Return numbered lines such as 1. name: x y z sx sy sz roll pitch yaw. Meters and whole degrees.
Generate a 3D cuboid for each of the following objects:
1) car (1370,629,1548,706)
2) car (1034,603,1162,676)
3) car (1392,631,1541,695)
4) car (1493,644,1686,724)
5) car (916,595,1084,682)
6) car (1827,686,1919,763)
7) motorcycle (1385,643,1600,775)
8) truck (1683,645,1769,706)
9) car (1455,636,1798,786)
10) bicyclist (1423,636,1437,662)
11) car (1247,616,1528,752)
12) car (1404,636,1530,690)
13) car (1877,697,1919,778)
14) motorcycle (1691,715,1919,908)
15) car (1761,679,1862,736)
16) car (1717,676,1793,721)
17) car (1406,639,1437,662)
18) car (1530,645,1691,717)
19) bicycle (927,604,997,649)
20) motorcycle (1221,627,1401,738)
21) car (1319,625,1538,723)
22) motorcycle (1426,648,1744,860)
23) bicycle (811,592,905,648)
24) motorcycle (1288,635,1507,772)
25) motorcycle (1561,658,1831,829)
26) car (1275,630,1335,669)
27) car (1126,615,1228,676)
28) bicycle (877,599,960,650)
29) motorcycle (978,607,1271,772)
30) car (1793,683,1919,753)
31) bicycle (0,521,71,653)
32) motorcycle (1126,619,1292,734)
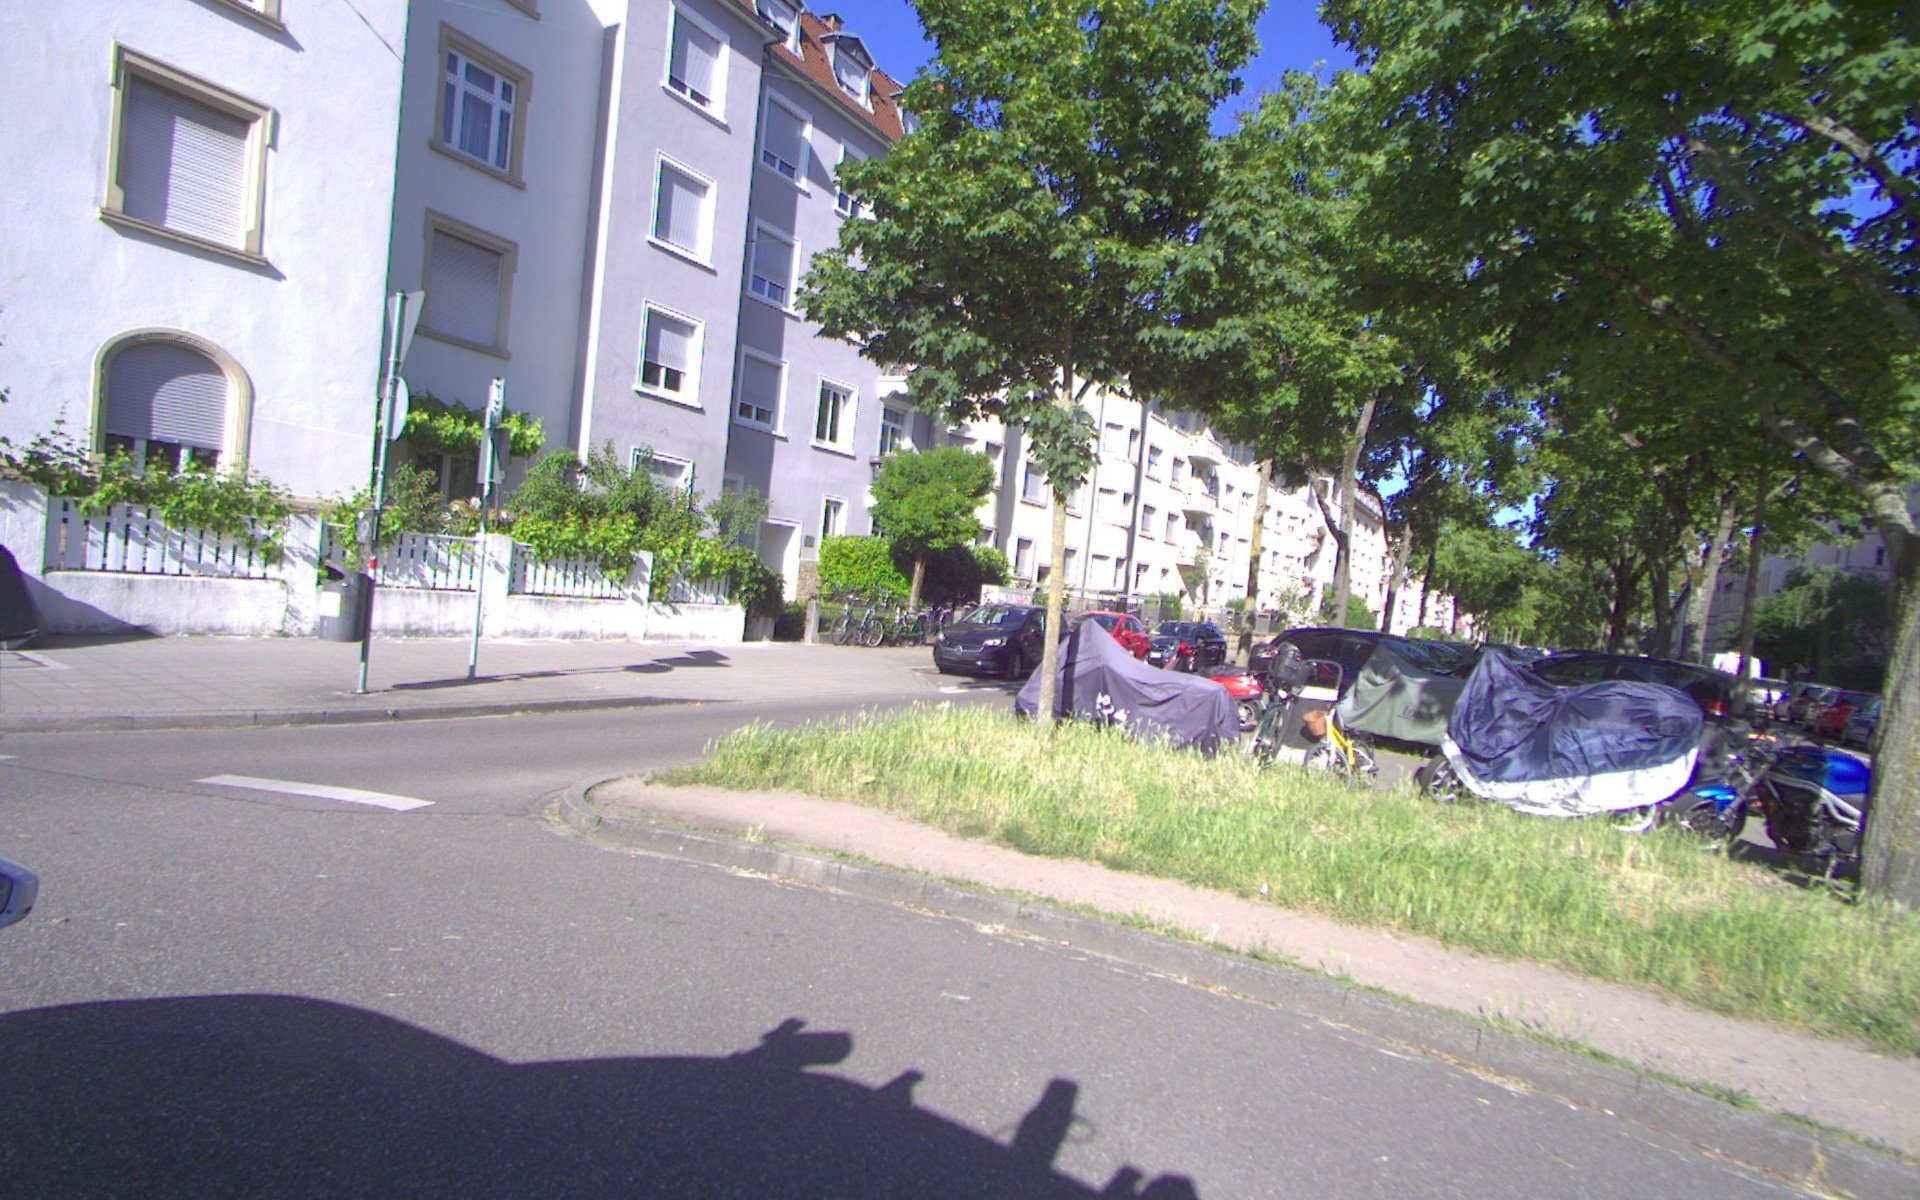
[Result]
1. car: 13.867 1.845 28.159 1.867 1.611 3.964 5 1 -33
2. car: 3.487 0.976 24.828 1.723 1.464 3.846 7 1 29
3. car: 16.950 2.082 33.846 1.867 1.611 3.964 5 1 -33
4. car: 16.942 2.227 27.244 1.765 1.569 3.960 5 2 -36
5. car: 0.919 0.765 20.333 1.723 1.463 3.947 5 0 29
6. car: 23.365 3.102 25.025 1.754 1.505 3.991 8 2 28
7. motorcycle: 6.700 1.321 12.723 2.205 1.284 1.049 7 2 31
8. truck: 40.175 3.881 52.941 2.370 2.711 5.894 8 2 28
9. car: 10.251 1.634 15.702 1.985 1.618 3.954 6 1 -40
10. bicyclist: 26.094 2.719 55.887 0.498 1.385 0.701 7 2 31
11. car: 6.880 1.307 16.598 1.783 1.661 3.846 5 1 -30
12. car: 20.107 2.468 40.011 1.867 1.611 3.964 5 1 -33
13. car: 20.469 2.951 20.351 1.754 1.525 3.991 8 2 28
14. motorcycle: 6.636 1.569 7.430 1.814 1.087 0.812 8 3 32
15. car: 30.014 3.754 35.591 1.754 1.505 3.991 8 2 28
16. car: 34.462 4.238 43.703 1.754 1.505 3.991 8 2 28
17. car: 35.373 3.856 77.093 1.723 1.476 3.846 7 1 29
18. car: 20.957 2.574 32.606 1.858 1.746 3.982 5 1 -19
19. bicycle: 0.084 0.731 26.971 0.672 1.073 2.249 7 1 34
20. motorcycle: 5.114 1.164 14.708 2.205 1.284 1.049 7 2 31
21. car: 10.181 1.574 22.158 1.689 1.611 3.964 5 1 -33
22. motorcycle: 5.067 1.189 8.349 2.019 1.345 0.861 7 2 28
23. bicycle: -2.170 0.453 21.771 0.672 1.073 2.249 7 1 34
24. motorcycle: 5.287 1.193 12.207 2.205 1.284 1.049 7 2 31
25. motorcycle: 7.765 1.461 10.804 2.091 1.410 1.060 7 2 30
26. car: 15.125 2.139 43.984 1.723 1.426 3.846 7 1 29
27. car: 6.384 1.322 29.309 1.723 1.464 3.846 7 1 29
28. bicycle: -0.957 0.600 23.923 0.672 1.073 2.249 7 1 34
29. motorcycle: 1.711 0.867 10.584 2.735 1.284 1.125 6 2 26
30. car: 26.206 3.381 29.559 1.754 1.505 3.991 8 2 28
31. bicycle: -9.788 -0.236 9.234 2.250 1.172 0.764 6 1 -15
32. motorcycle: 3.311 0.982 13.438 1.863 1.253 0.887 7 2 31
